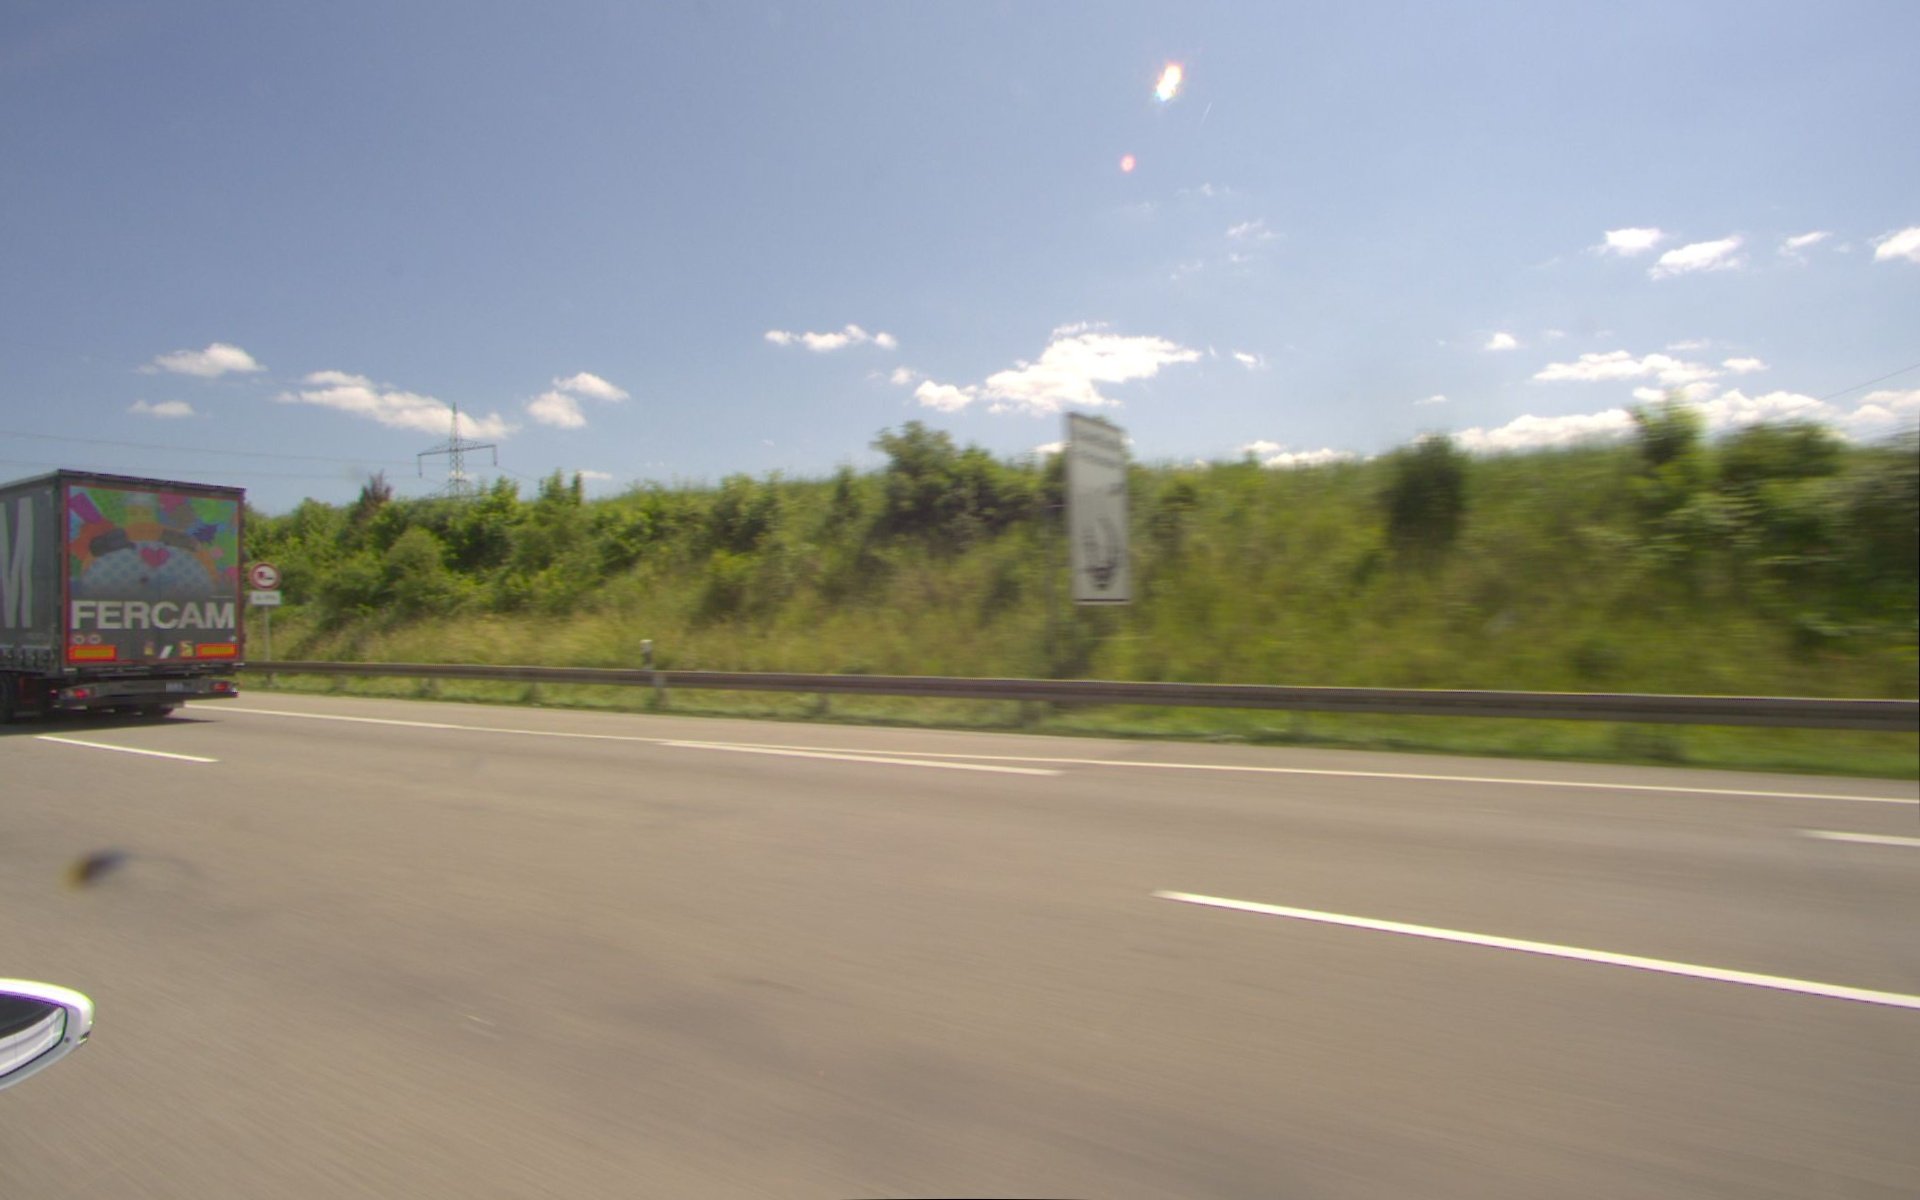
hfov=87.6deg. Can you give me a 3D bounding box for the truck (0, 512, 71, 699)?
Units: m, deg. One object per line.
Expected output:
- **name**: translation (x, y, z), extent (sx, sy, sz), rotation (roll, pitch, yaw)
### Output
- **truck**: translation (-23.818, 0.196, 23.425), extent (6.692, 4.071, 2.748), rotation (-2, -2, 32)

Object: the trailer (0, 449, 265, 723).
- **trailer**: translation (-17.920, -0.027, 19.667), extent (11.641, 4.207, 2.720), rotation (-2, -2, 33)
